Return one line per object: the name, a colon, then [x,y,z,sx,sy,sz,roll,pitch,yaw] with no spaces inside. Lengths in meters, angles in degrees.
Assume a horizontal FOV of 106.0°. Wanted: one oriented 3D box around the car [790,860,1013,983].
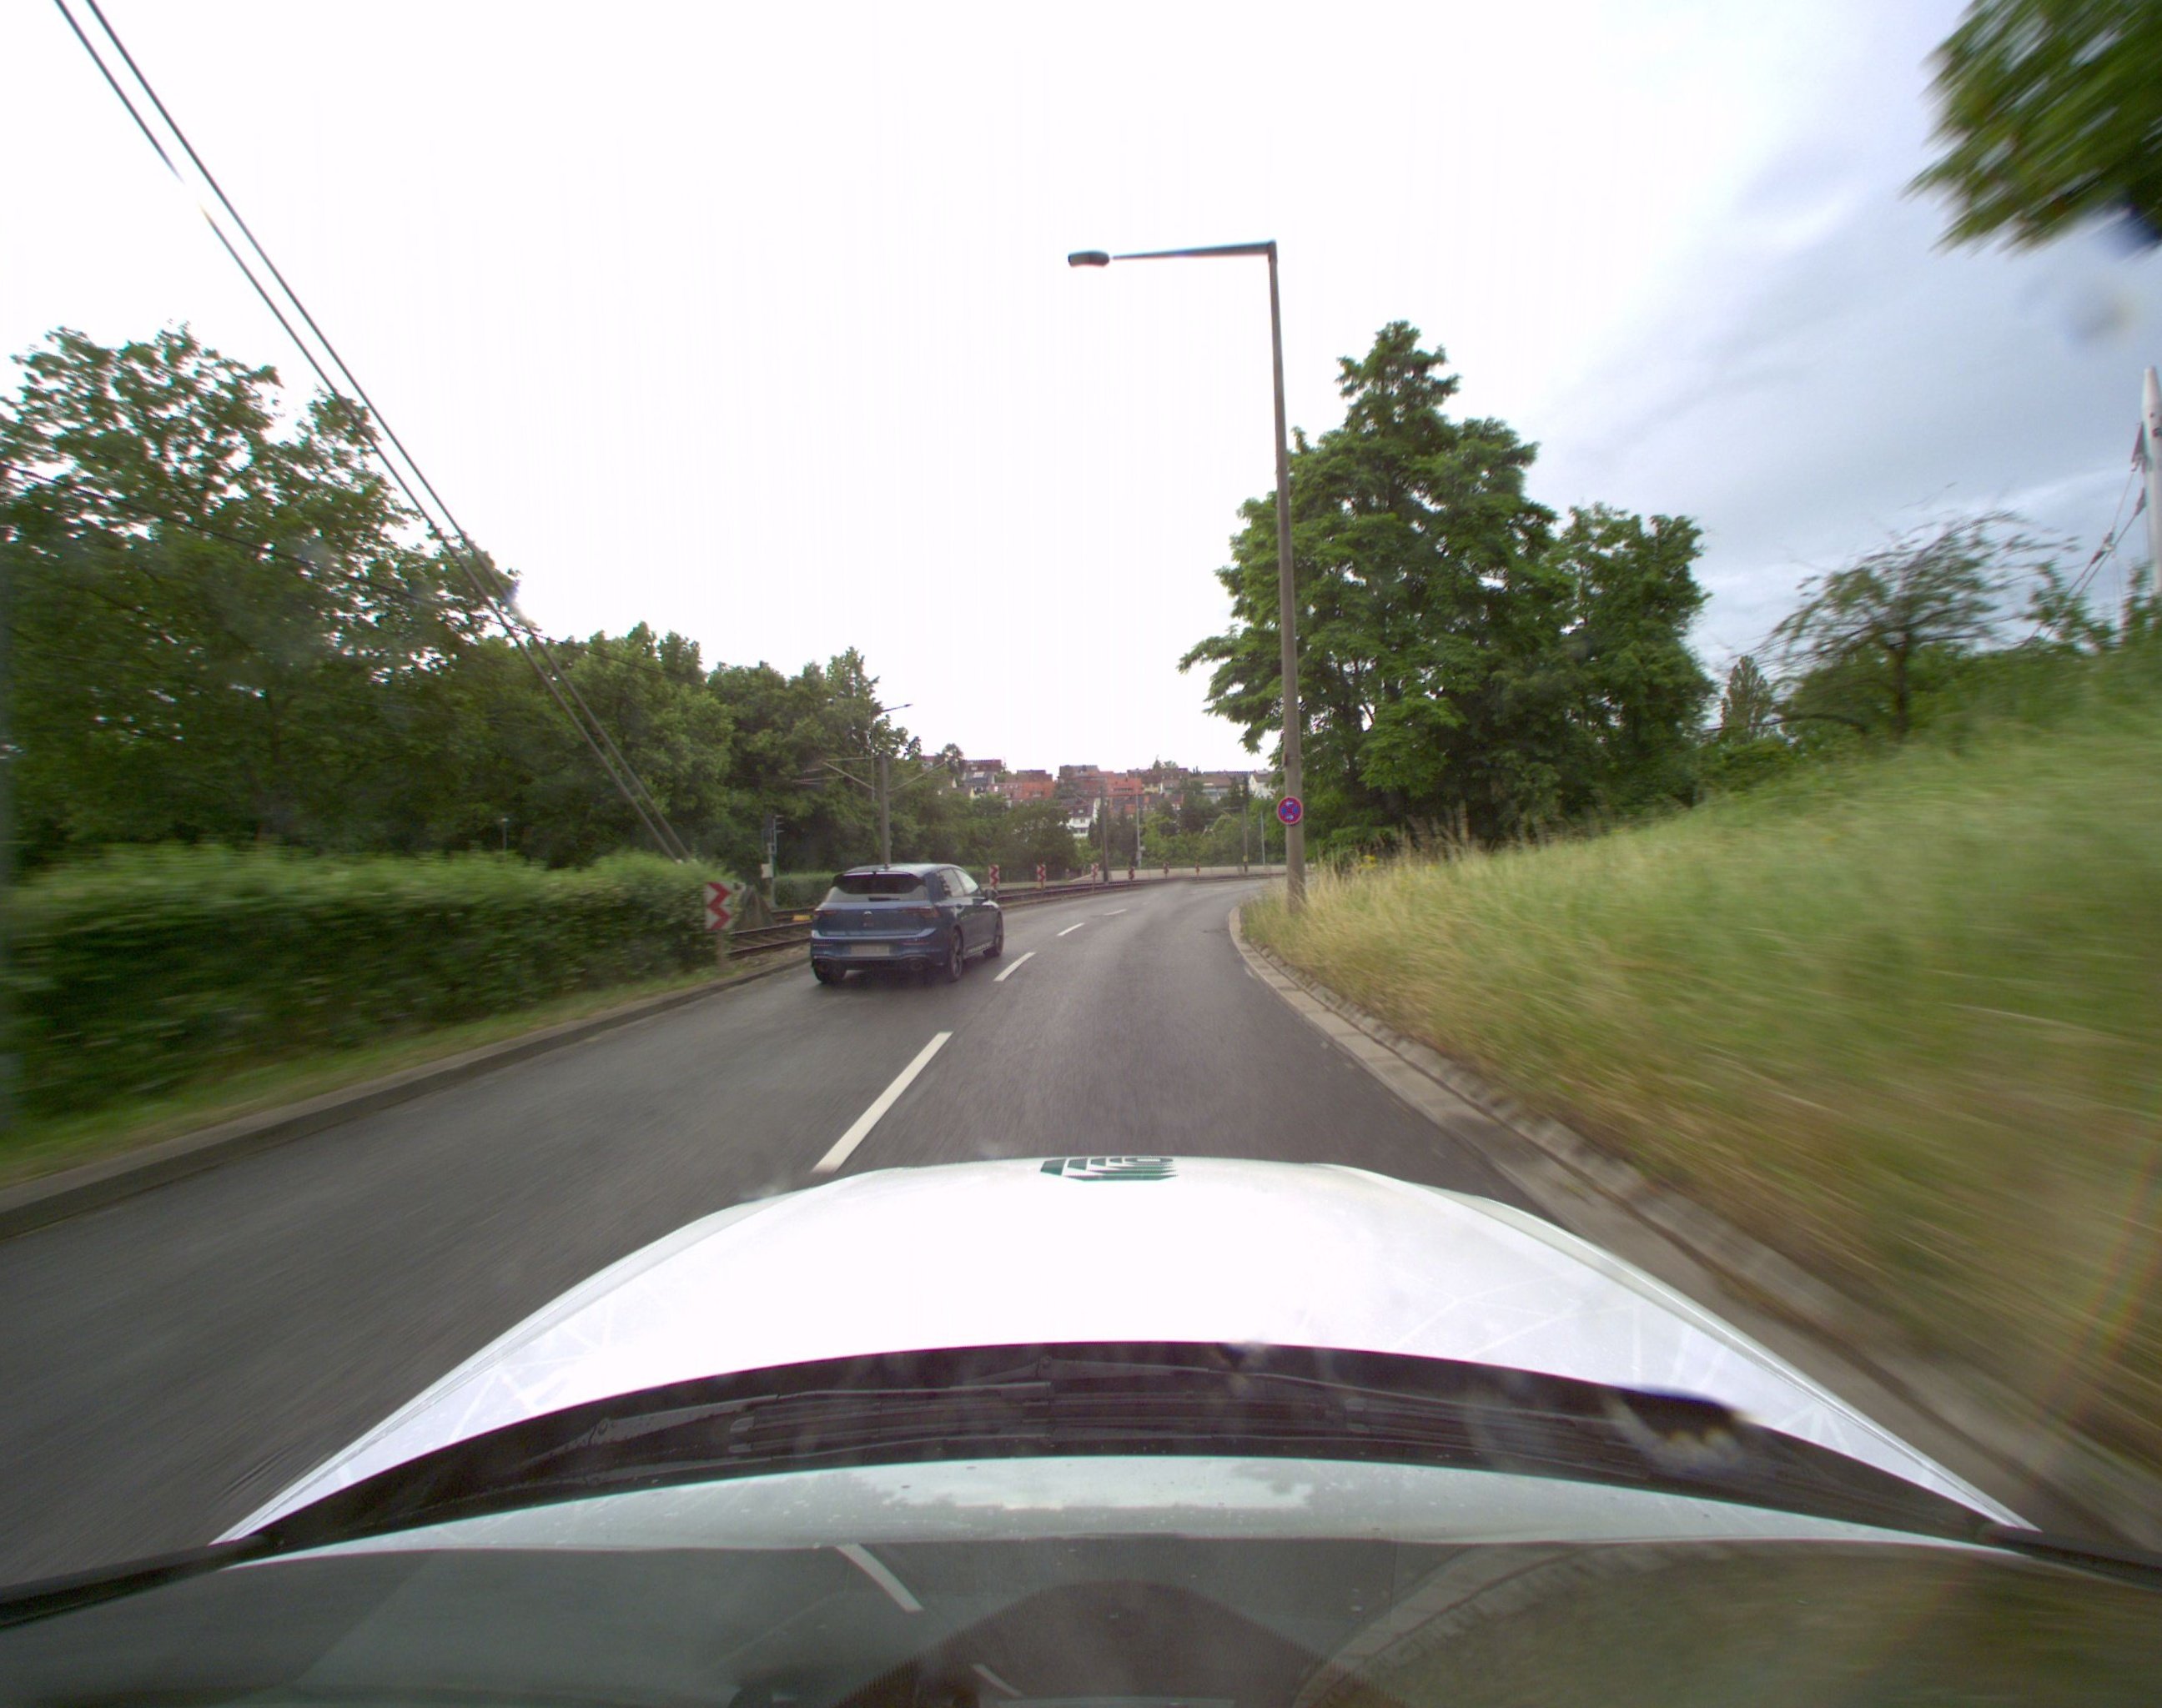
car: [-2.225,0.792,11.408,1.799,1.378,4.353,-1,-1,5]
